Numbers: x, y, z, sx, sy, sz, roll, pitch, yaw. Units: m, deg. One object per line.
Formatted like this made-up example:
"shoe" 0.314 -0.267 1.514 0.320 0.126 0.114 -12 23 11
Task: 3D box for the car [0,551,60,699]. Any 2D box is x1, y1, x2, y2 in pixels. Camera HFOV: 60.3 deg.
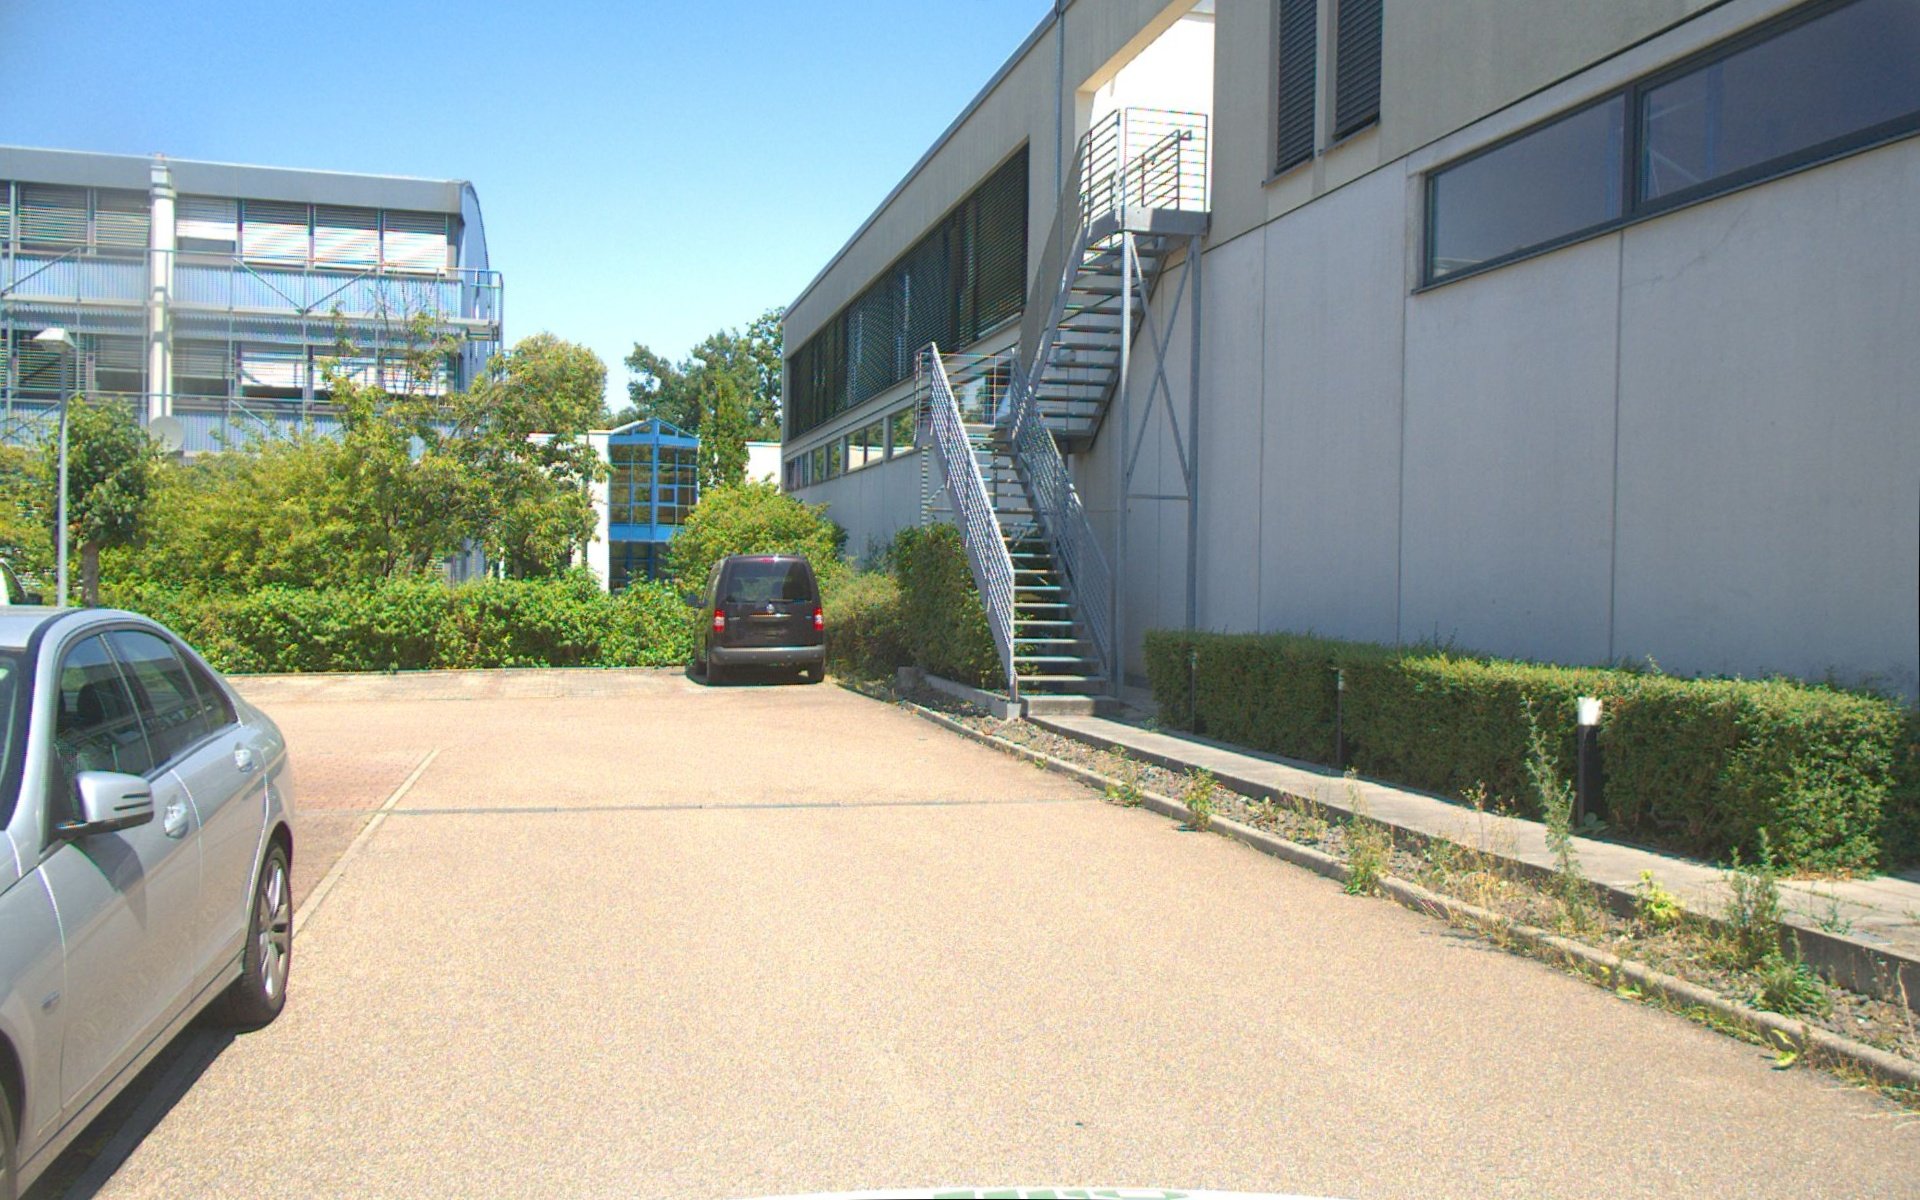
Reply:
"car" -13.566 0.325 21.804 1.881 1.938 4.789 -1 2 -15

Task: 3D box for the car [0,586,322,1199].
"car" -2.857 0.716 4.051 1.698 1.482 4.136 -1 0 -11

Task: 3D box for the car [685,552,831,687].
"car" -3.150 0.230 25.227 1.714 1.869 3.985 -1 1 -14
